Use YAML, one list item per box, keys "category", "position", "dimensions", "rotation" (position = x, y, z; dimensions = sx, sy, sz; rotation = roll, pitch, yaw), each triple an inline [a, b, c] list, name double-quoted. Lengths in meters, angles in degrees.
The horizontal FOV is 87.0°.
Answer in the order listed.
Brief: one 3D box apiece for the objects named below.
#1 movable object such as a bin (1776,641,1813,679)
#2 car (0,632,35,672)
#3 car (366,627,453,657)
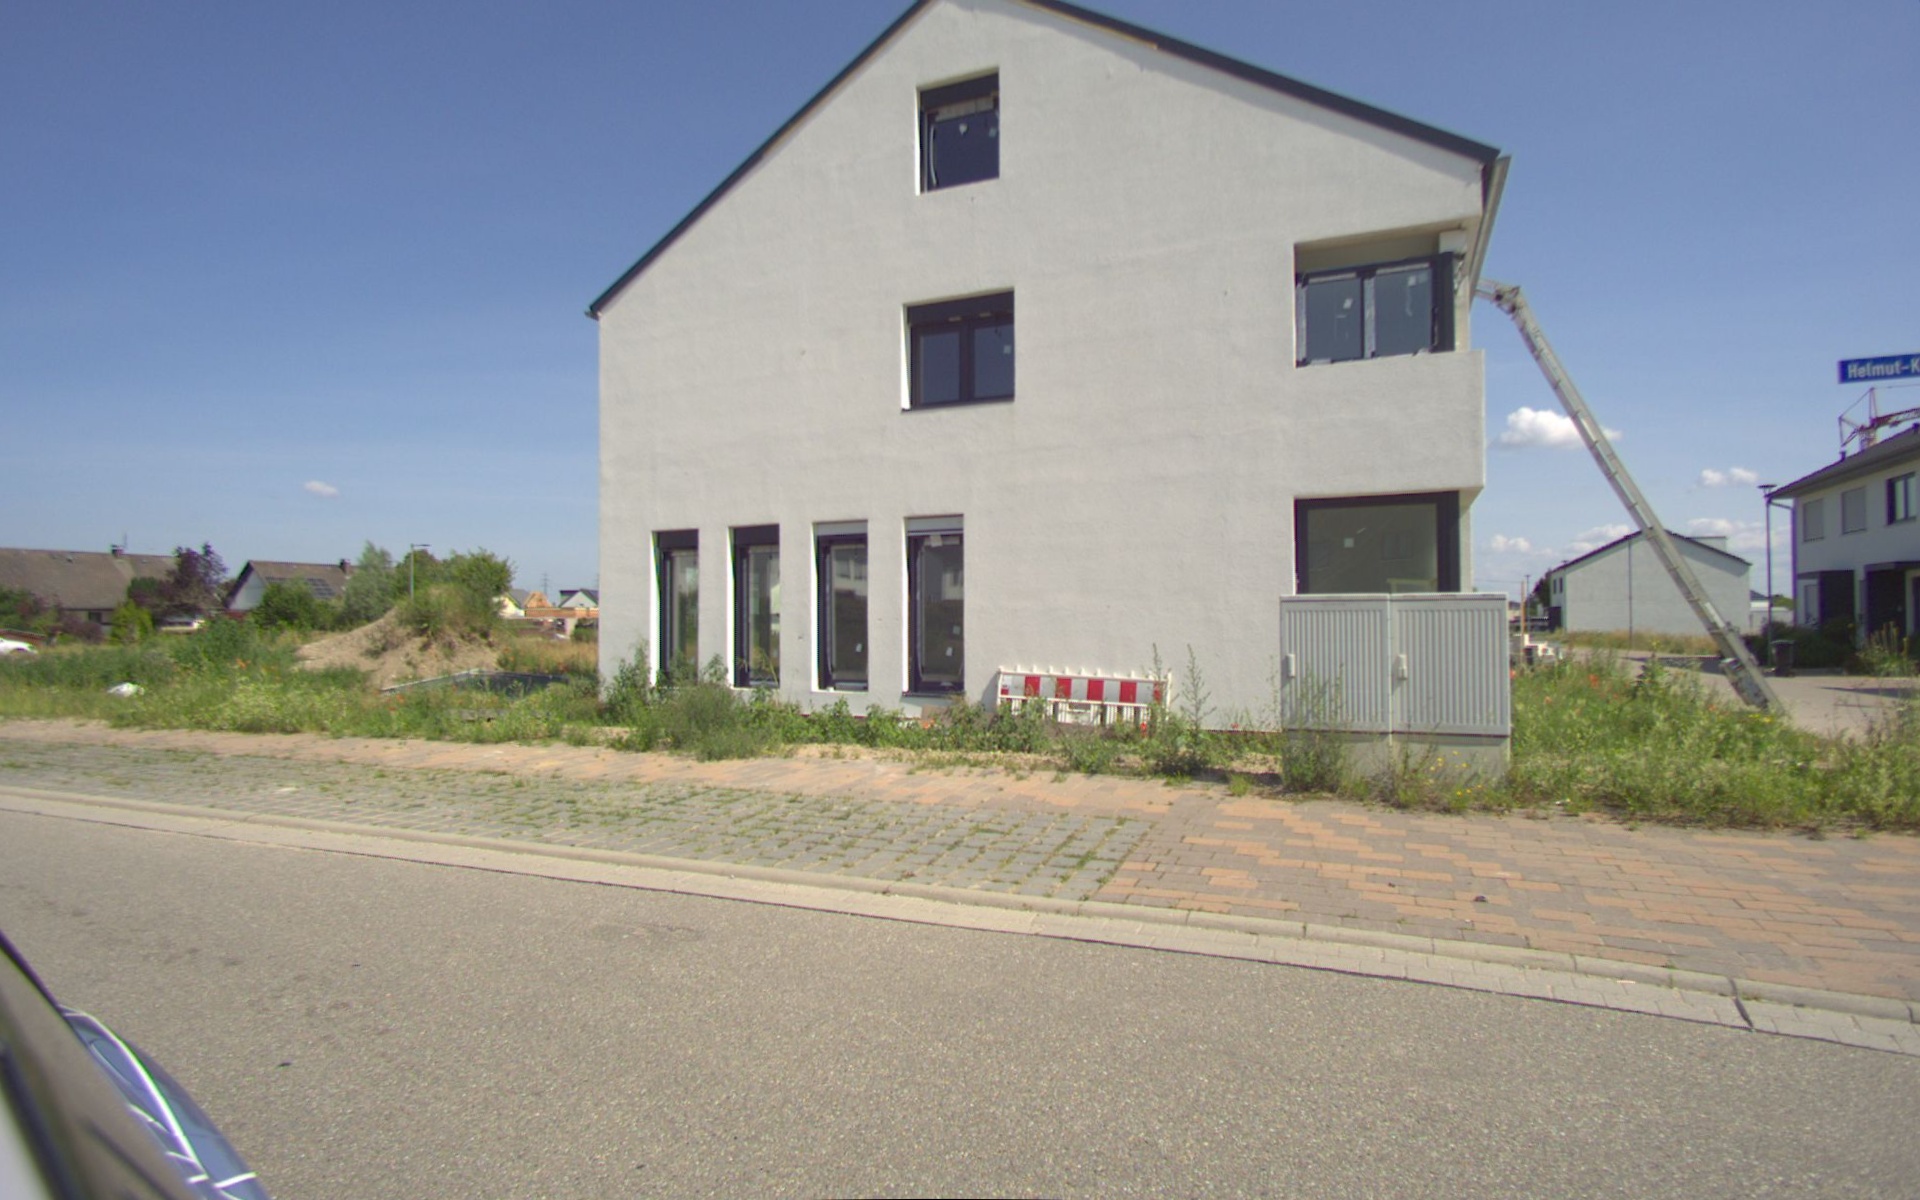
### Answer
- category: "movable object such as a bin"
  position: [21.190, 1.520, 25.713]
  dimensions: [0.594, 0.928, 0.458]
  rotation: [-1, -2, 25]
- category: "car"
  position: [-38.145, 1.994, 38.531]
  dimensions: [1.800, 1.514, 3.963]
  rotation: [-1, -2, 27]
- category: "car"
  position: [-30.362, 2.299, 55.922]
  dimensions: [1.798, 1.628, 3.968]
  rotation: [-1, -2, 23]
